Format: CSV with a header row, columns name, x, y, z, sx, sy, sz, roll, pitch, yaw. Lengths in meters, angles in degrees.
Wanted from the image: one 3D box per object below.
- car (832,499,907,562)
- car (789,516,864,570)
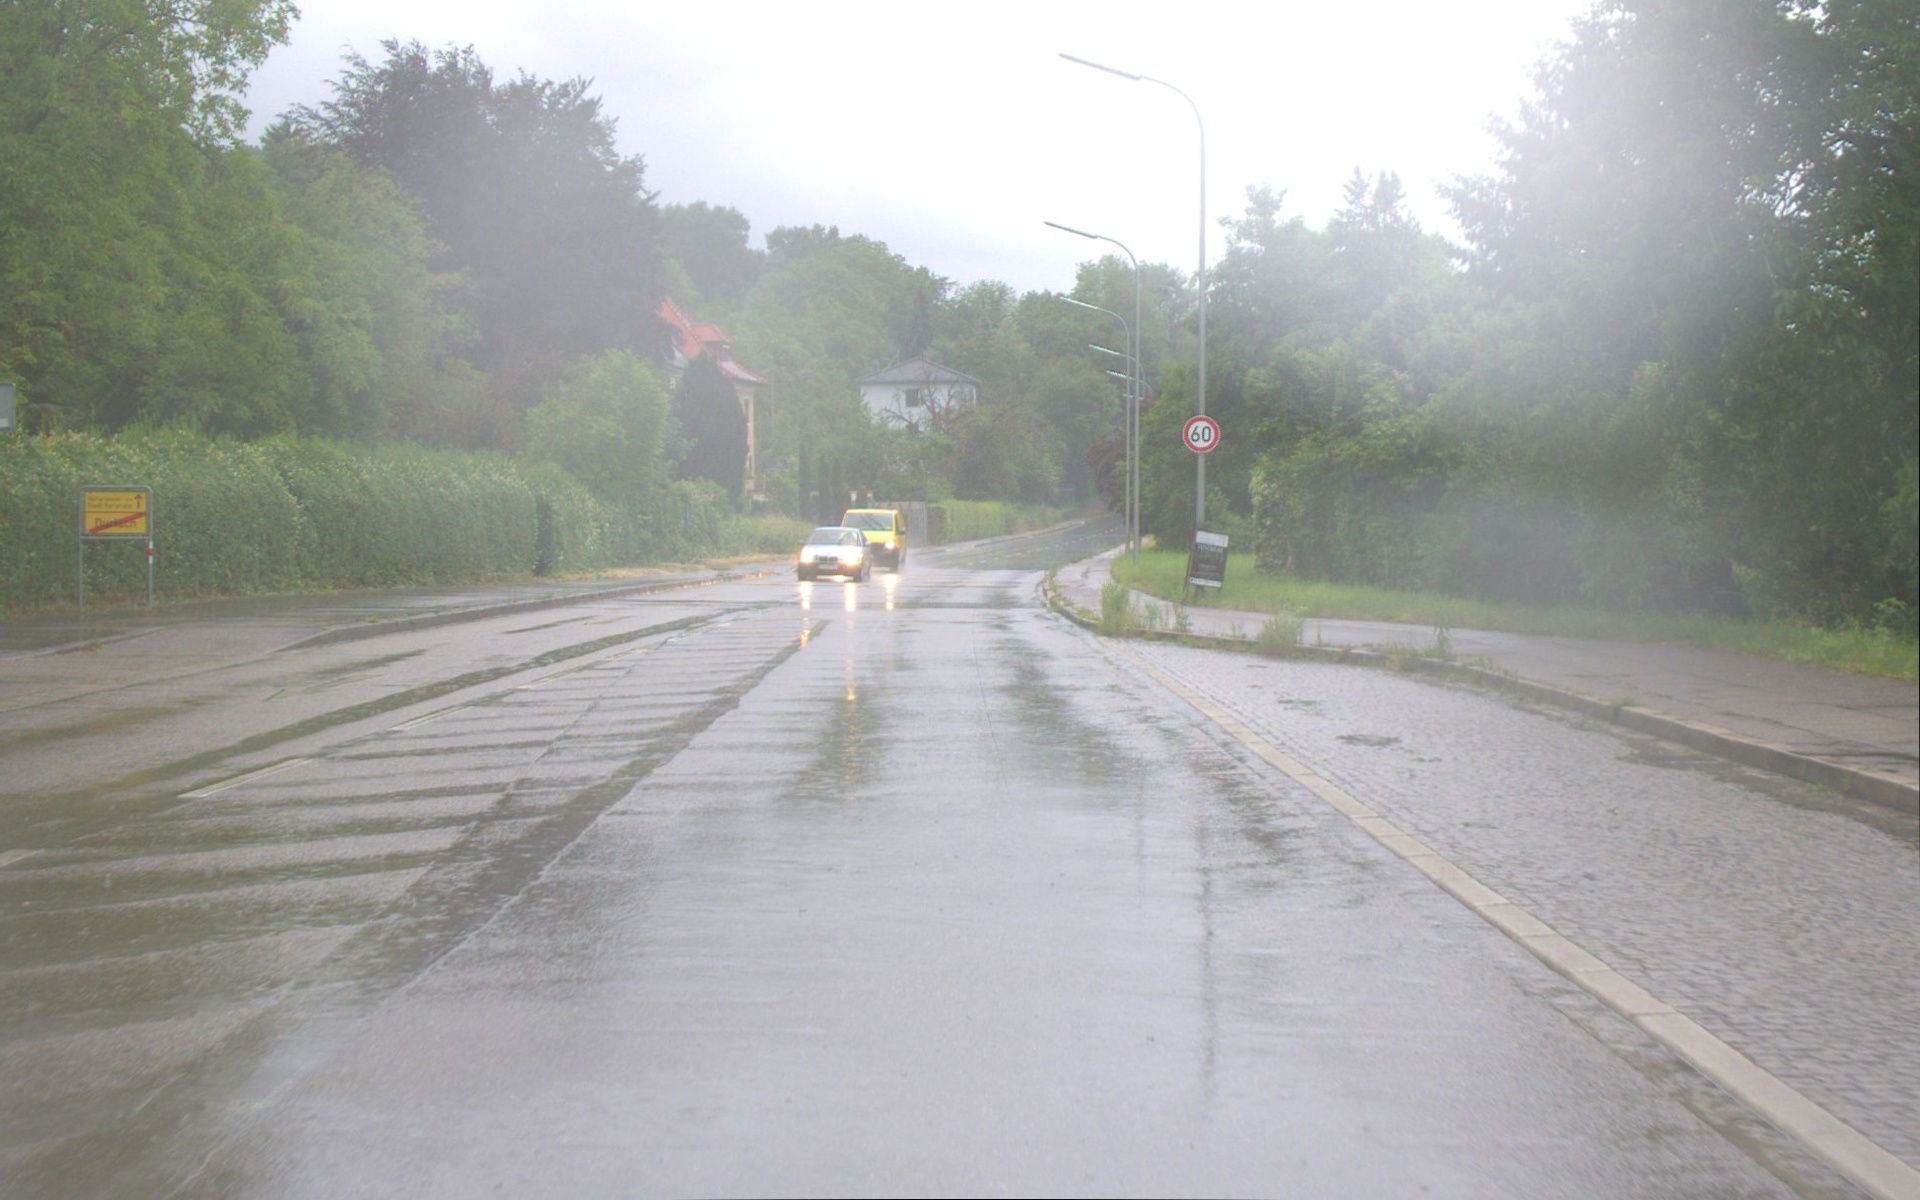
name,x,y,z,sx,sy,sz,roll,pitch,yaw
car,-2.751,-2.149,105.117,1.937,1.865,5.036,0,1,3
car,-3.410,-1.474,88.450,1.701,1.345,3.905,0,2,1
